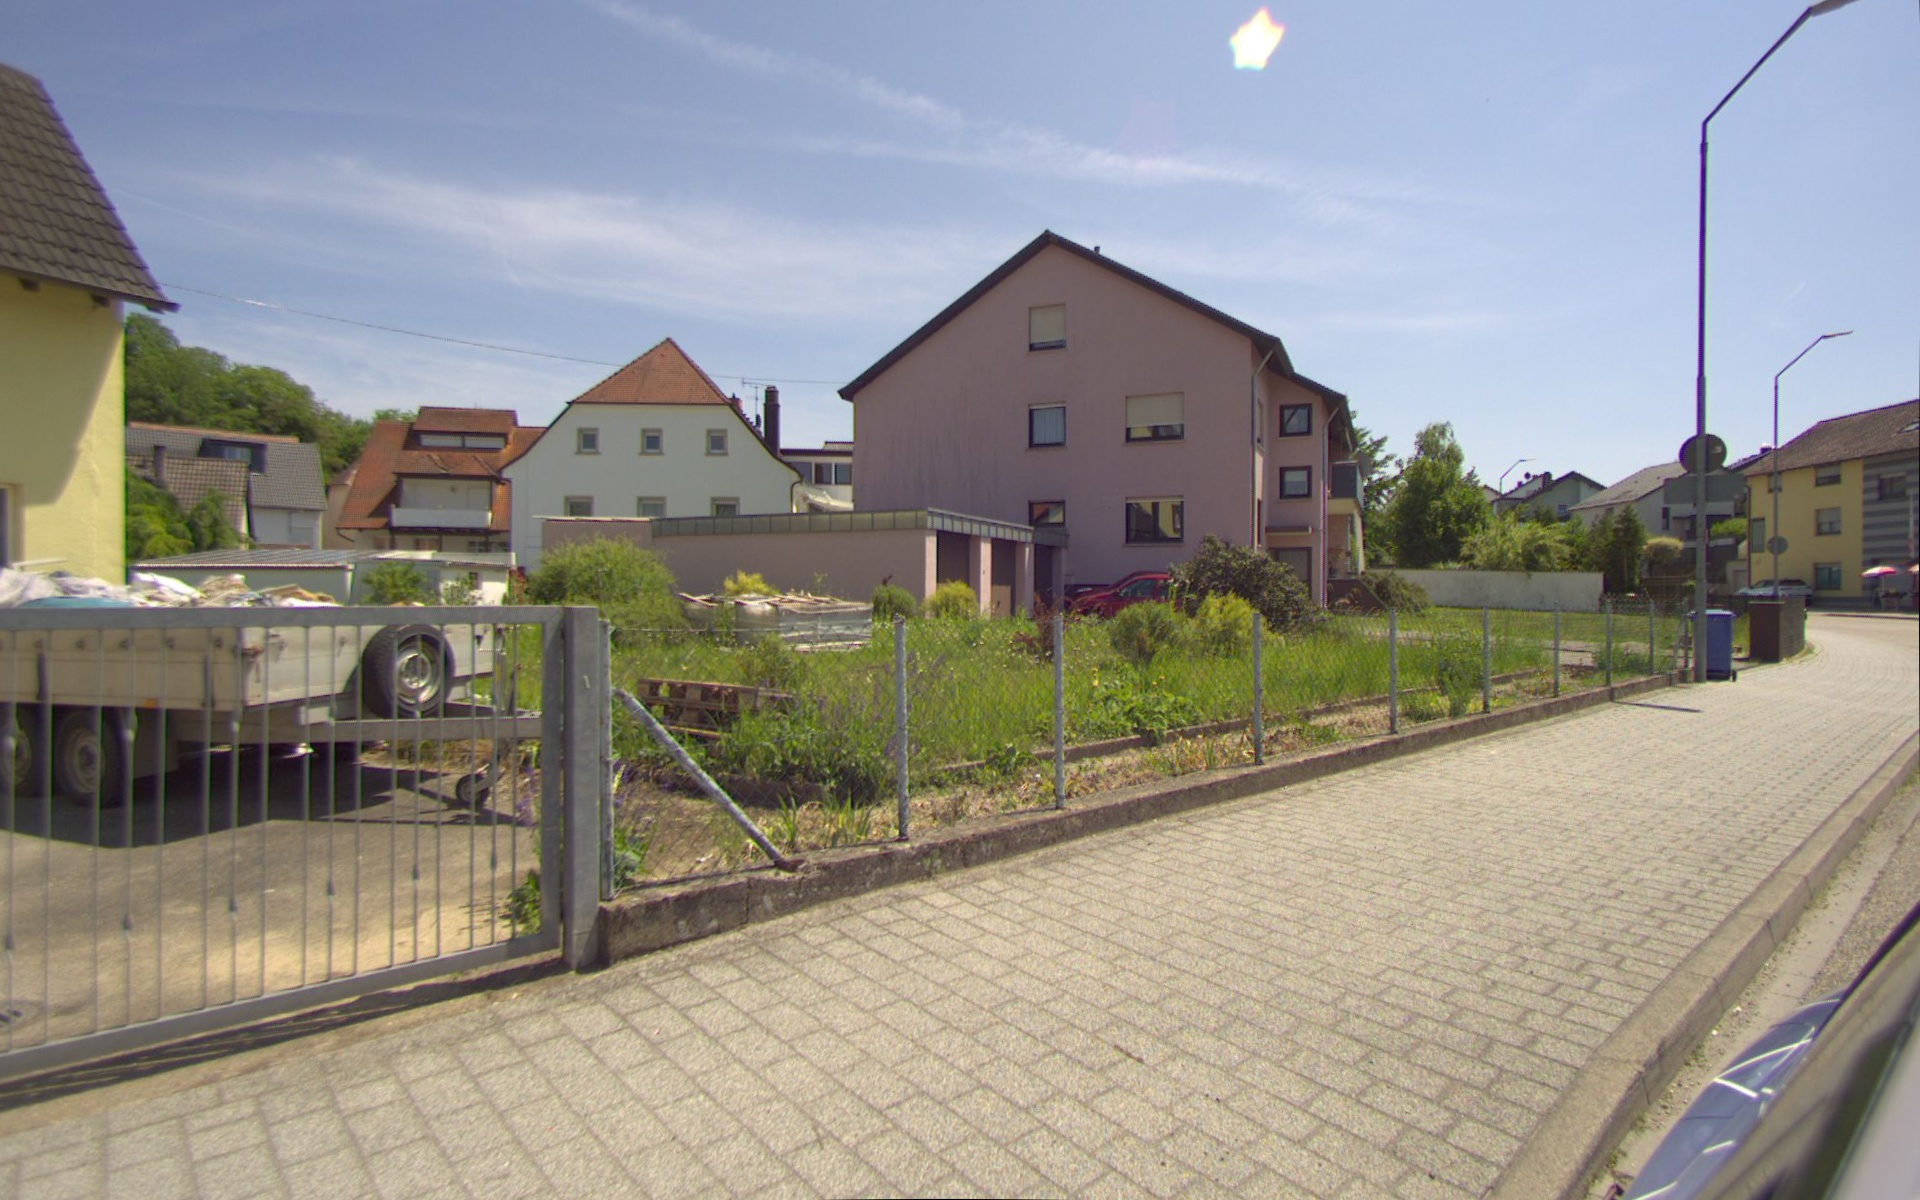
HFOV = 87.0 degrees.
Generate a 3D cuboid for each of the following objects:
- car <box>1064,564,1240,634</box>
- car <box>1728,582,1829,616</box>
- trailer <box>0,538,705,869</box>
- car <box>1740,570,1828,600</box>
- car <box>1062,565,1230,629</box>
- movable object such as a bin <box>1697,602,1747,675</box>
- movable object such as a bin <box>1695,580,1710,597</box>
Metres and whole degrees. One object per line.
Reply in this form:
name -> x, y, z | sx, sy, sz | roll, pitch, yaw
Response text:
car -> 4.542, -0.068, 23.974 | 3.798, 1.504, 1.746 | 2, 1, 26
car -> 34.984, -0.055, 43.404 | 1.871, 1.393, 3.982 | 0, 1, 15
trailer -> -4.553, 0.508, 6.718 | 5.296, 1.565, 2.125 | -1, 0, 20
car -> 45.790, -0.842, 56.352 | 1.705, 1.571, 4.184 | -1, 1, 5
car -> 4.890, -0.076, 26.563 | 4.076, 1.567, 1.838 | -1, 1, 22
movable object such as a bin -> 11.757, 0.580, 15.627 | 0.562, 1.071, 0.643 | 0, 1, 33
movable object such as a bin -> 47.811, -0.722, 65.184 | 0.463, 1.068, 0.634 | -1, 1, 3
